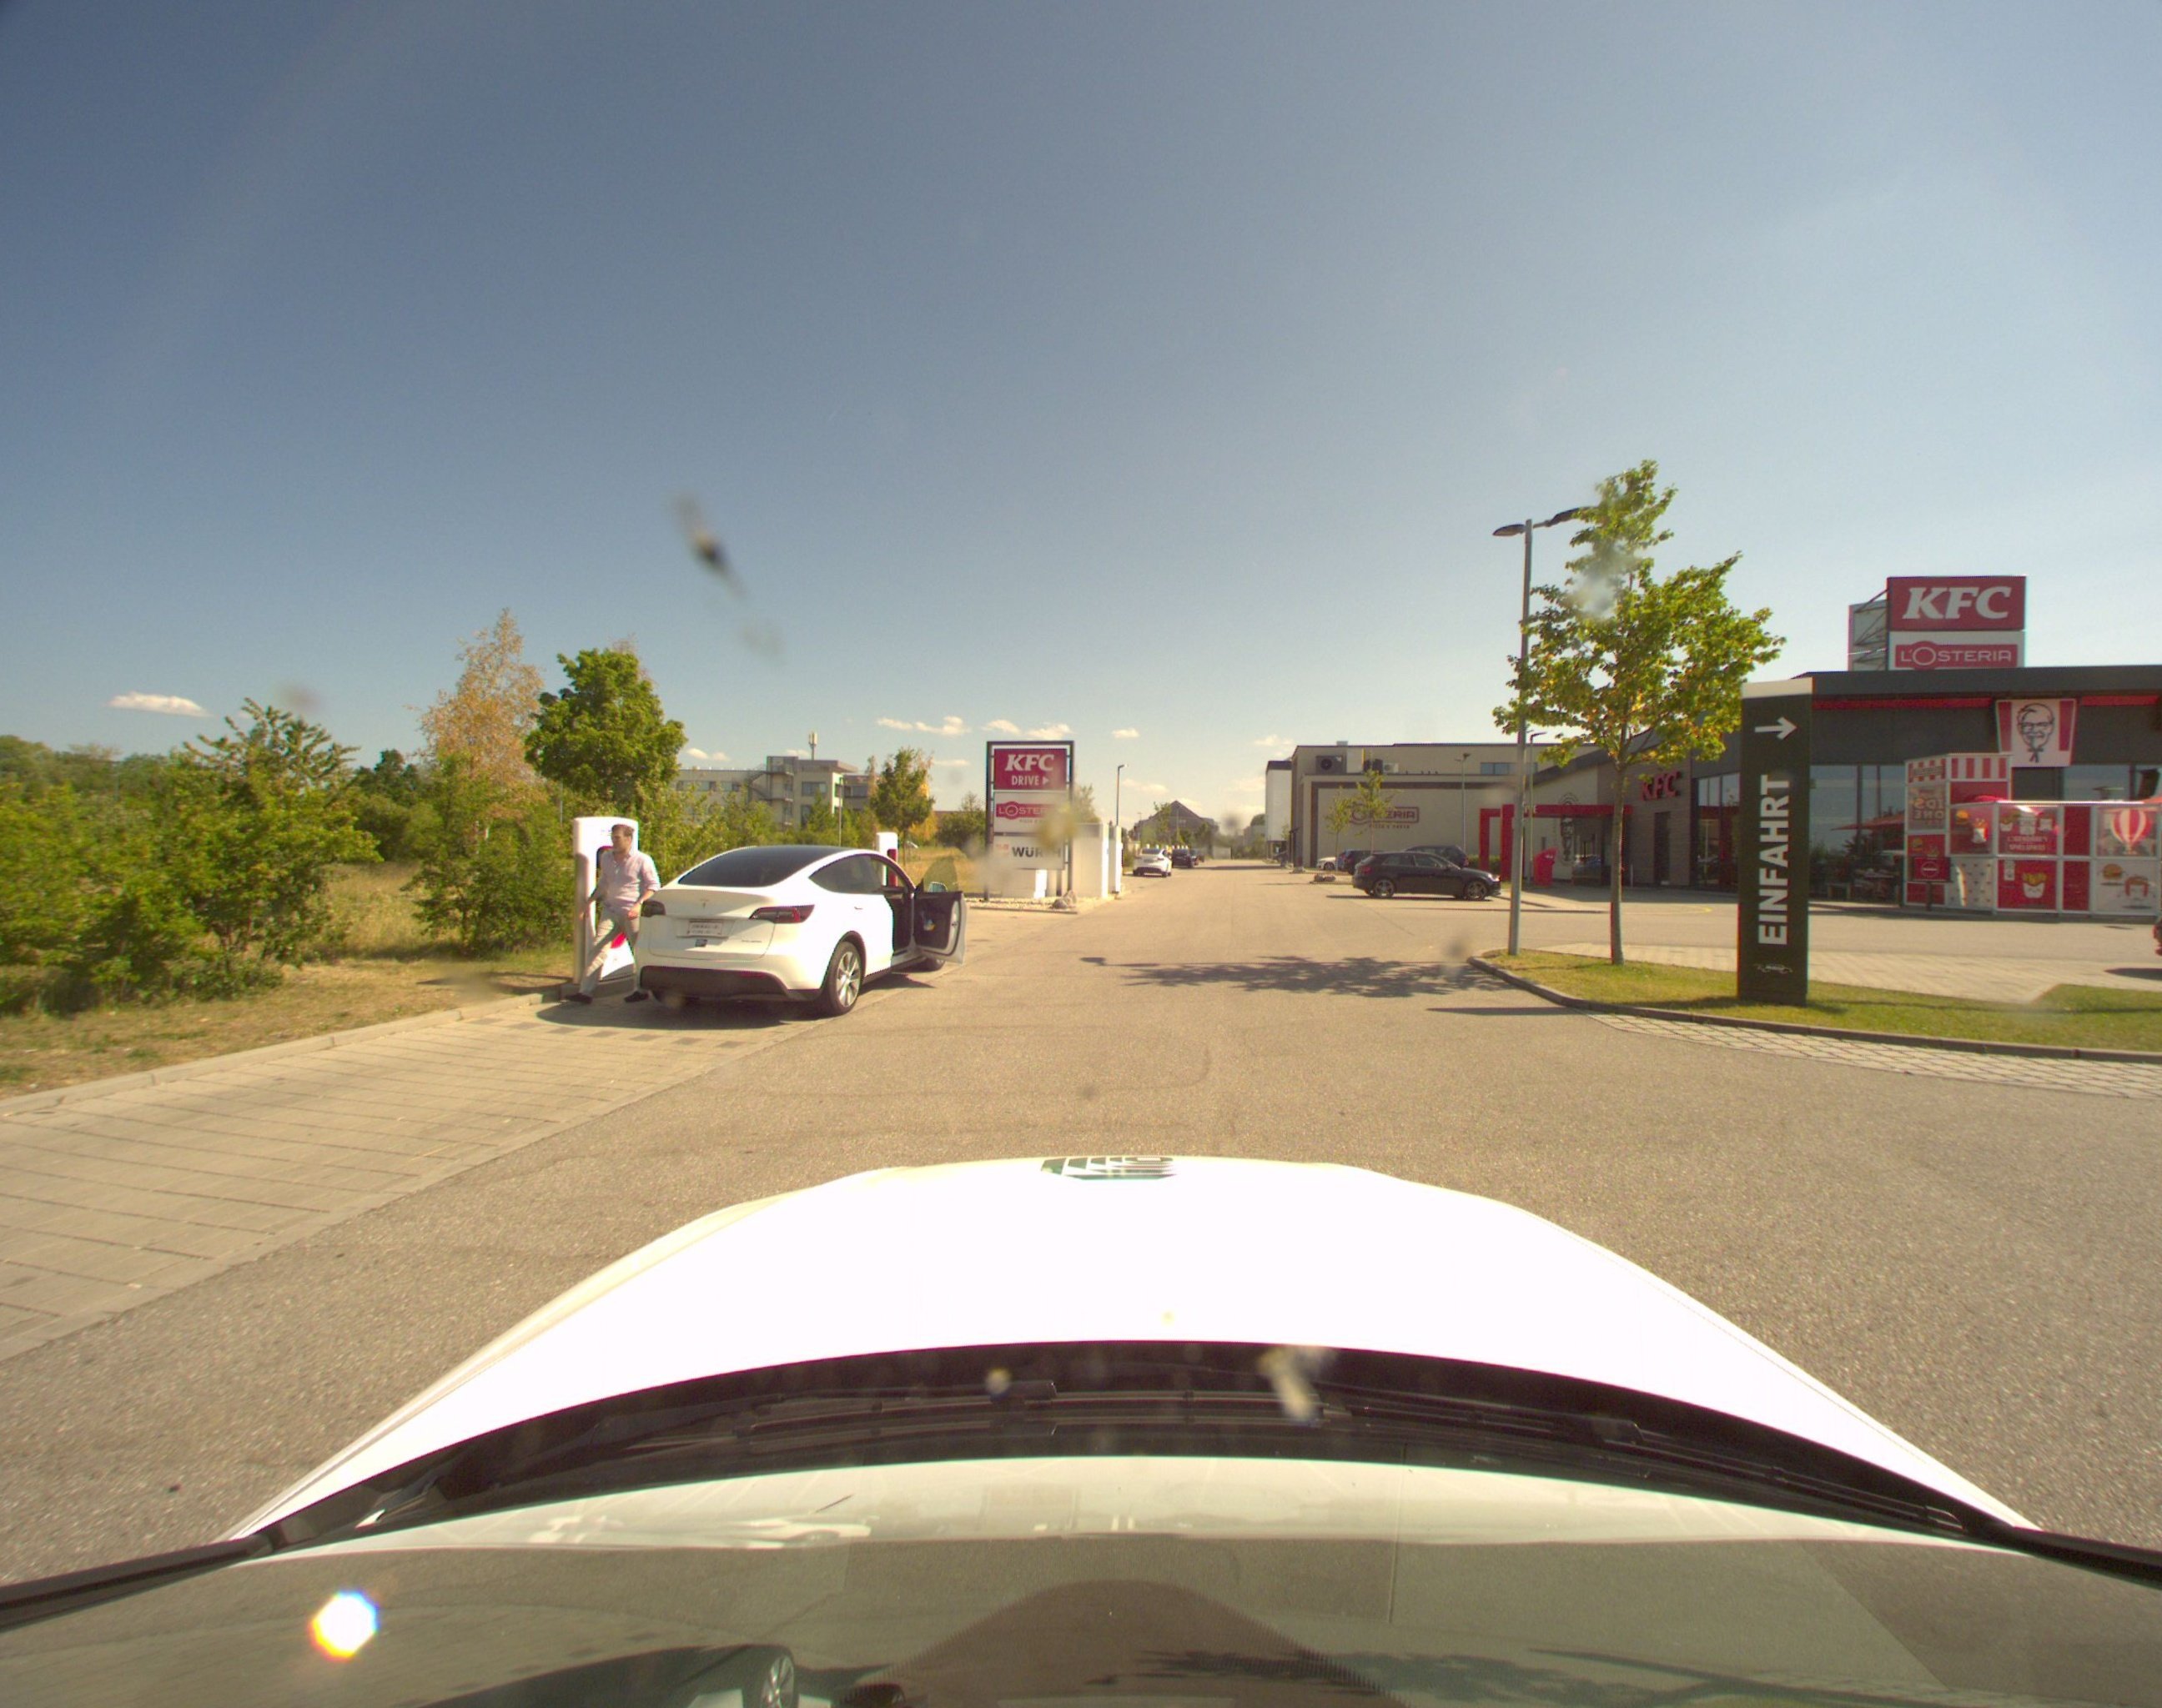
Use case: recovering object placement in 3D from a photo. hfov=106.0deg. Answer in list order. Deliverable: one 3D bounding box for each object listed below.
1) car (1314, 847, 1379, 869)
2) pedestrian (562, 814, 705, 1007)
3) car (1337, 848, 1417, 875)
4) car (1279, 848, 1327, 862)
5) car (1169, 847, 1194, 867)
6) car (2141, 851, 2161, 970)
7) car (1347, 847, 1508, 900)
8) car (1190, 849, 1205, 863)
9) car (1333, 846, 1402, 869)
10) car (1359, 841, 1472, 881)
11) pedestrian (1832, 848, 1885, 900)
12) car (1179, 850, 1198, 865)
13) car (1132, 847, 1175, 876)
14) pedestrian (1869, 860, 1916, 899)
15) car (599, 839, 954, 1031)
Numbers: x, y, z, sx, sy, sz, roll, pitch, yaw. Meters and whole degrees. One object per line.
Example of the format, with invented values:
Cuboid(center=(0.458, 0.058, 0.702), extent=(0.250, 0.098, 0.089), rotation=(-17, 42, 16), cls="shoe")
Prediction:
Cuboid(center=(18.091, 0.282, 55.586), extent=(3.965, 1.420, 1.654), rotation=(1, 0, 7), cls="car")
Cuboid(center=(-4.483, 0.525, 8.225), extent=(0.729, 1.800, 1.039), rotation=(1, 0, 12), cls="pedestrian")
Cuboid(center=(16.679, 0.423, 46.002), extent=(3.965, 1.420, 1.654), rotation=(1, 0, 7), cls="car")
Cuboid(center=(19.639, 0.092, 72.203), extent=(3.963, 1.156, 2.005), rotation=(0, 1, 9), cls="car")
Cuboid(center=(8.429, 0.228, 68.193), extent=(1.933, 1.568, 4.011), rotation=(1, 1, 9), cls="car")
Cuboid(center=(16.089, 0.778, 9.731), extent=(1.763, 1.576, 4.045), rotation=(1, 0, -33), cls="car")
Cuboid(center=(10.316, 0.544, 24.502), extent=(4.175, 1.441, 1.703), rotation=(1, 0, 9), cls="car")
Cuboid(center=(13.836, 0.193, 96.663), extent=(1.732, 1.568, 4.010), rotation=(1, 1, 9), cls="car")
Cuboid(center=(18.560, 0.229, 52.823), extent=(3.965, 1.420, 1.654), rotation=(1, 0, 7), cls="car")
Cuboid(center=(14.702, 0.287, 35.985), extent=(4.348, 1.685, 1.644), rotation=(1, 0, 5), cls="car")
Cuboid(center=(22.011, 0.564, 23.075), extent=(0.793, 1.435, 0.774), rotation=(0, 0, 8), cls="pedestrian")
Cuboid(center=(10.599, 0.290, 79.991), extent=(1.732, 1.387, 4.010), rotation=(1, 1, 9), cls="car")
Cuboid(center=(4.267, 0.408, 47.147), extent=(1.931, 1.568, 4.014), rotation=(1, 1, 13), cls="car")
Cuboid(center=(22.856, 0.720, 22.942), extent=(0.711, 1.071, 0.630), rotation=(0, 0, 8), cls="pedestrian")
Cuboid(center=(-2.994, 0.673, 9.249), extent=(1.854, 1.600, 4.498), rotation=(1, 1, 7), cls="car")
